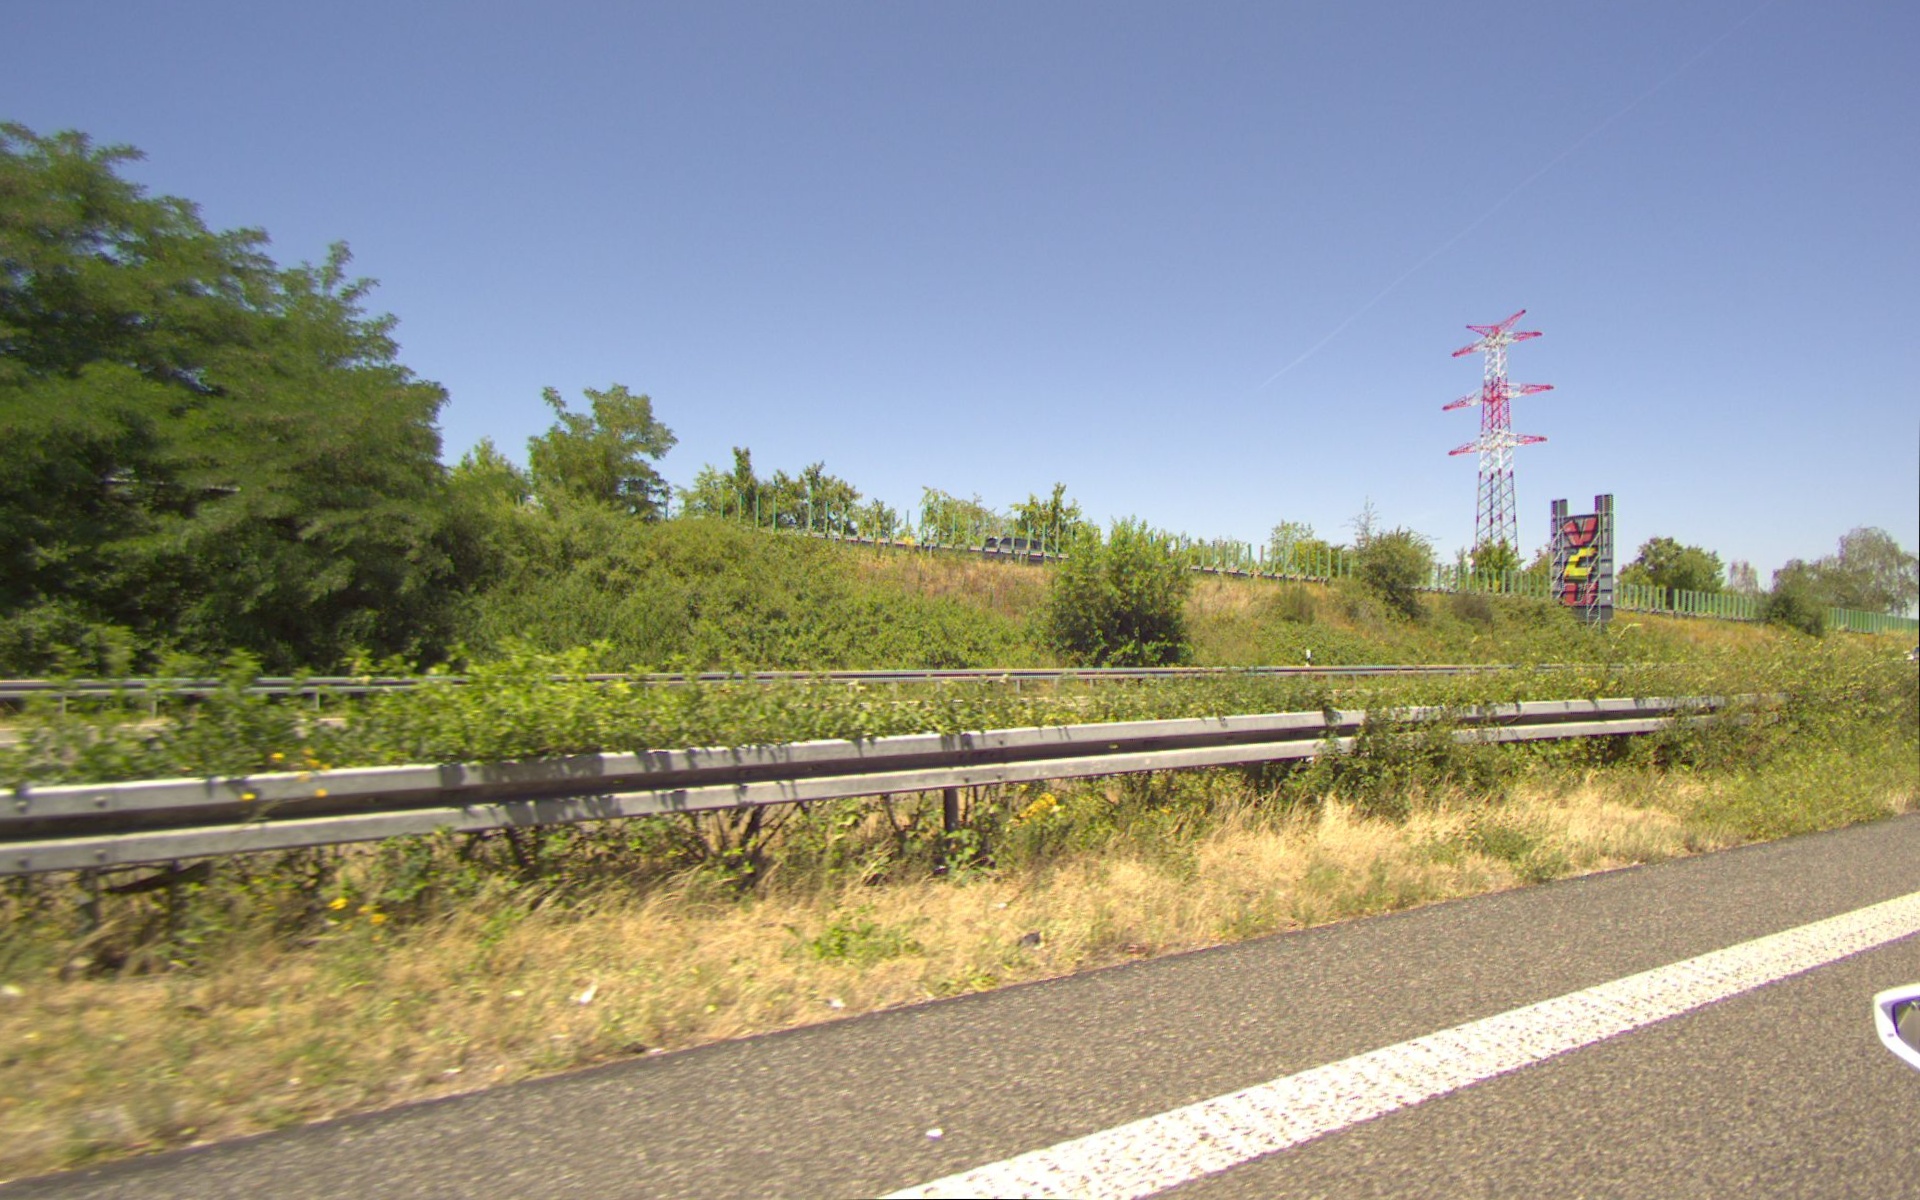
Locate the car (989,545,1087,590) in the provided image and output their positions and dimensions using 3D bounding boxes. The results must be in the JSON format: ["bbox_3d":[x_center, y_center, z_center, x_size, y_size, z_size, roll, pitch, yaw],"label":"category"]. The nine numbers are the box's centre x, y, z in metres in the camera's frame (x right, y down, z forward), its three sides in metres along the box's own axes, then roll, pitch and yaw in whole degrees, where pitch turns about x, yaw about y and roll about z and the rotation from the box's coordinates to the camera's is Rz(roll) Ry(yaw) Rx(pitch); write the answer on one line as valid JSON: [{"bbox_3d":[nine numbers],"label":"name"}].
[{"bbox_3d":[3.456,-1.402,44.445,3.944,1.818,1.717,2,0,-24],"label":"car"}]

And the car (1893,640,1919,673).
[{"bbox_3d":[49.503,2.883,51.170,4.102,1.617,1.756,1,-2,-30],"label":"car"}]
